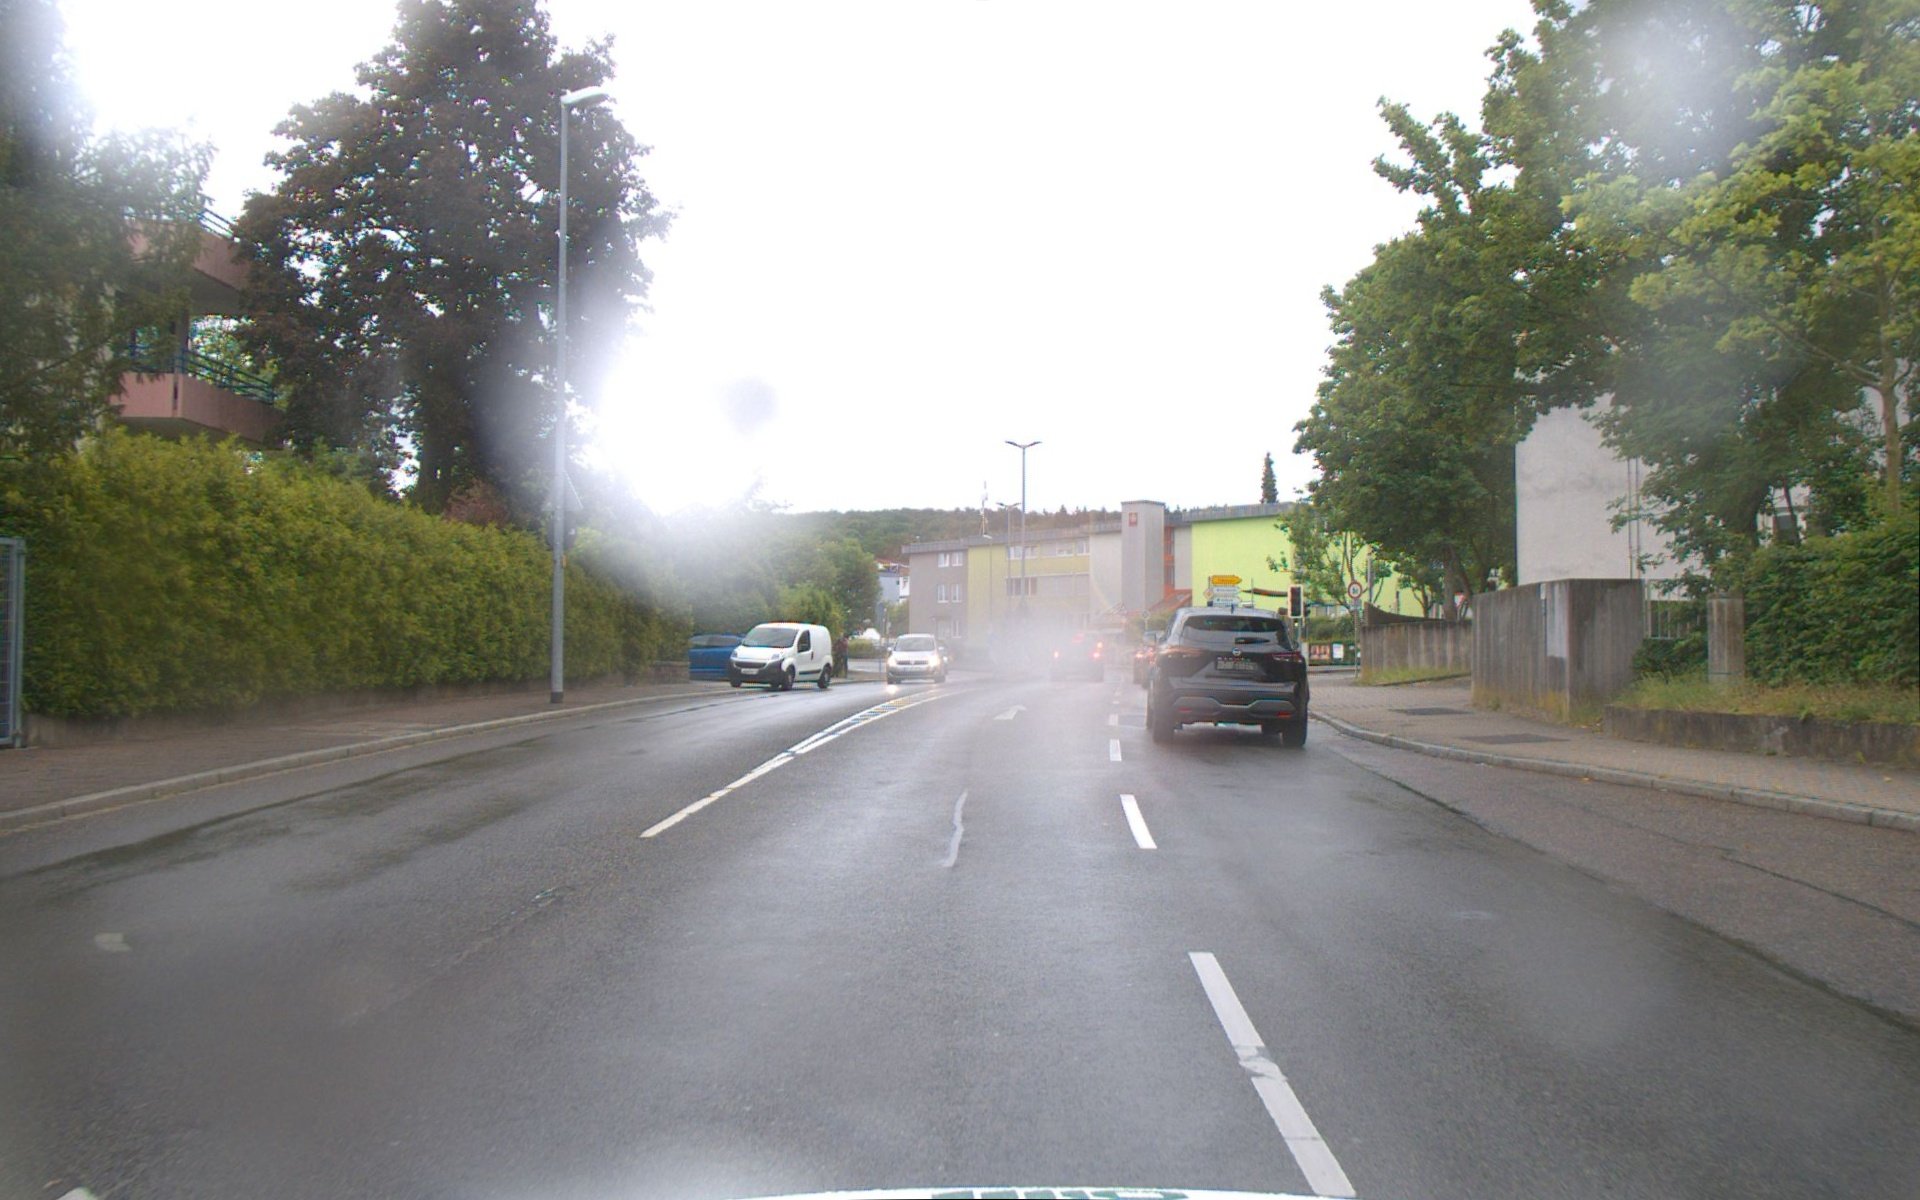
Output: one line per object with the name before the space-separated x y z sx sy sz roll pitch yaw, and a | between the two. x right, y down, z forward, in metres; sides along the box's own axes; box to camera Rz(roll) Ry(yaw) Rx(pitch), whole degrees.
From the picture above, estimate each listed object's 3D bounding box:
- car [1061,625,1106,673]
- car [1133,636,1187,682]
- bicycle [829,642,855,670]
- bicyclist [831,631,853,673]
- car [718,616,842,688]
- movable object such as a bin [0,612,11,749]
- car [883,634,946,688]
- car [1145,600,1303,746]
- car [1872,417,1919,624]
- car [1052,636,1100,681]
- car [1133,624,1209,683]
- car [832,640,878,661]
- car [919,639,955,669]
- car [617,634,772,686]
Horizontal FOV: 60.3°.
car | 5.045 1.953 67.274 1.680 1.877 4.089 0 -1 6
car | 6.589 1.927 54.376 1.670 1.452 4.511 -1 -2 8
bicycle | -4.681 2.234 65.775 0.731 1.105 1.990 1 -2 4
bicyclist | -4.686 2.059 65.858 0.748 1.640 0.868 0 -2 4
car | -4.740 1.389 44.068 1.665 1.738 3.979 3 -1 19
movable object such as a bin | -9.716 0.793 16.025 0.536 1.349 0.806 1 0 1
car | -1.434 1.959 53.652 1.600 1.607 4.058 -3 -2 3
car | 3.221 0.826 20.769 1.752 1.631 4.256 0 0 7
car | 11.644 -0.807 16.941 1.955 2.265 4.129 1 2 -6
car | 4.162 2.066 58.929 1.647 1.532 3.775 0 -1 5
car | 5.721 1.438 45.245 1.865 1.484 4.780 -1 -1 5
car | -10.439 5.035 164.958 4.317 1.803 1.994 -2 -2 -12
car | -1.436 3.368 103.278 1.999 1.746 4.482 -2 -2 2
car | -8.027 1.802 50.251 4.391 1.386 1.805 2 0 -1
